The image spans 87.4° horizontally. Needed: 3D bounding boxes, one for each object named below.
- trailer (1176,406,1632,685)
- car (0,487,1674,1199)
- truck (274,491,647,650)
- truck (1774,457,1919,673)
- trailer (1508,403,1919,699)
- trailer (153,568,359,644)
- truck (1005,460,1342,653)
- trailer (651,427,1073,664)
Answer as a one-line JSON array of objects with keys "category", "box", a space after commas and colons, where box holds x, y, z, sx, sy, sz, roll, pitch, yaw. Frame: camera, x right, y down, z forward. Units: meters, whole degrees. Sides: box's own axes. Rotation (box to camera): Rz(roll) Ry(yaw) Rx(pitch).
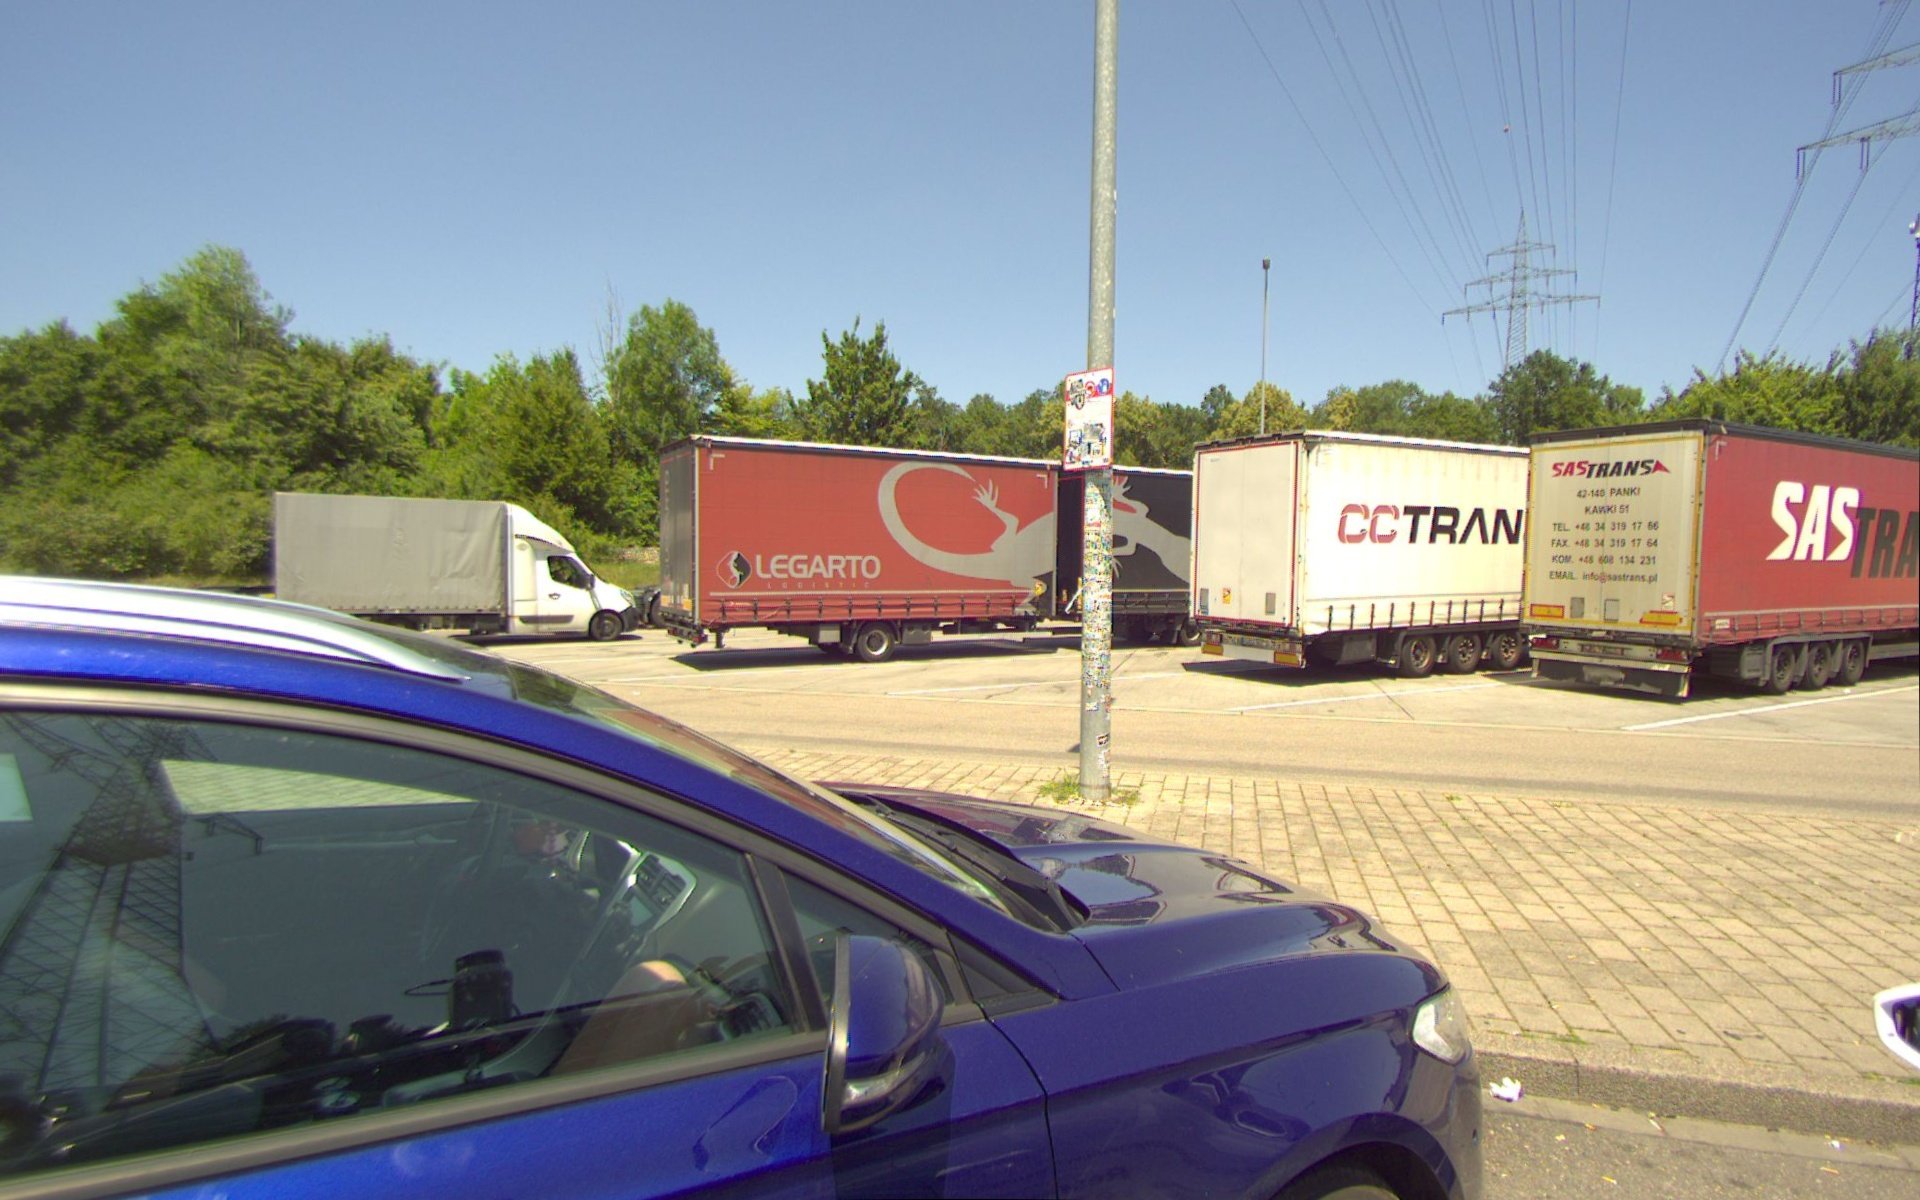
[{"category": "trailer", "box": [8.705, -0.829, 19.110, 9.614, 4.321, 2.733, 0, 1, -29]}, {"category": "car", "box": [-1.016, 0.653, 1.468, 4.419, 1.485, 1.765, 0, 1, -32]}, {"category": "truck", "box": [-11.111, -0.608, 22.895, 7.265, 3.170, 2.352, 0, 1, -30]}, {"category": "truck", "box": [20.812, -0.671, 21.775, 6.749, 4.136, 2.729, 0, 1, -31]}, {"category": "trailer", "box": [15.279, -0.669, 18.502, 13.129, 4.112, 2.736, 0, 1, -31]}, {"category": "trailer", "box": [-16.512, 0.142, 23.780, 3.856, 1.684, 1.464, 0, 1, -30]}, {"category": "truck", "box": [5.395, -0.910, 24.586, 8.534, 4.073, 2.624, 0, 1, -30]}, {"category": "trailer", "box": [-1.797, -0.919, 20.313, 8.158, 4.027, 2.651, 0, 1, -30]}]
